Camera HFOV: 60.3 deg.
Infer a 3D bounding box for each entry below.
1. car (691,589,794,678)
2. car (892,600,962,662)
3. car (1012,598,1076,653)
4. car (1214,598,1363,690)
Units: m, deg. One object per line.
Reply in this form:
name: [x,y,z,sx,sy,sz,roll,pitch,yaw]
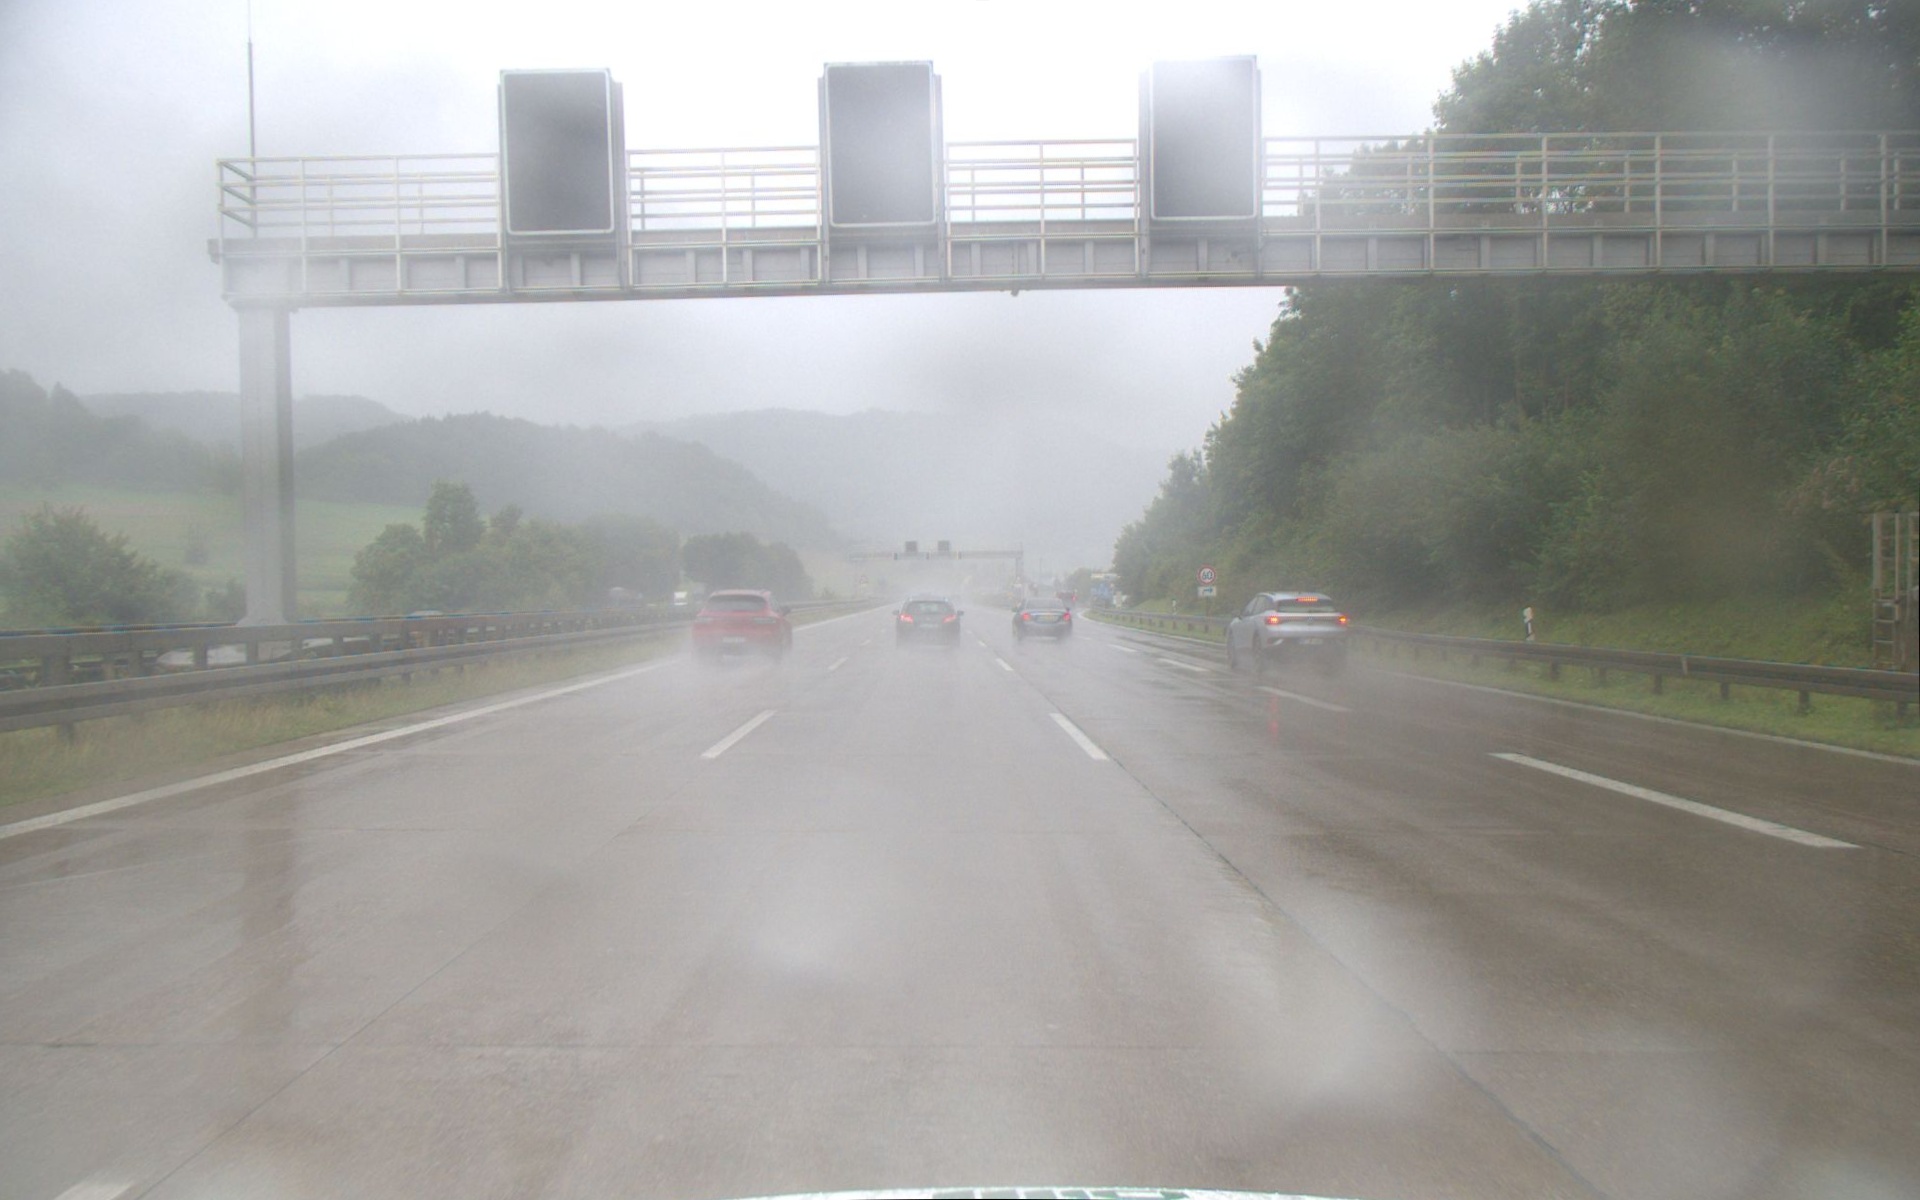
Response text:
car: [-4.737,0.678,36.486,1.846,1.847,3.999,0,0,-2]
car: [-0.900,0.818,45.766,1.822,1.617,3.999,1,0,-1]
car: [2.844,0.830,56.509,1.931,1.791,3.999,0,0,-1]
car: [6.850,0.870,35.159,1.953,1.781,5.661,1,0,-1]
